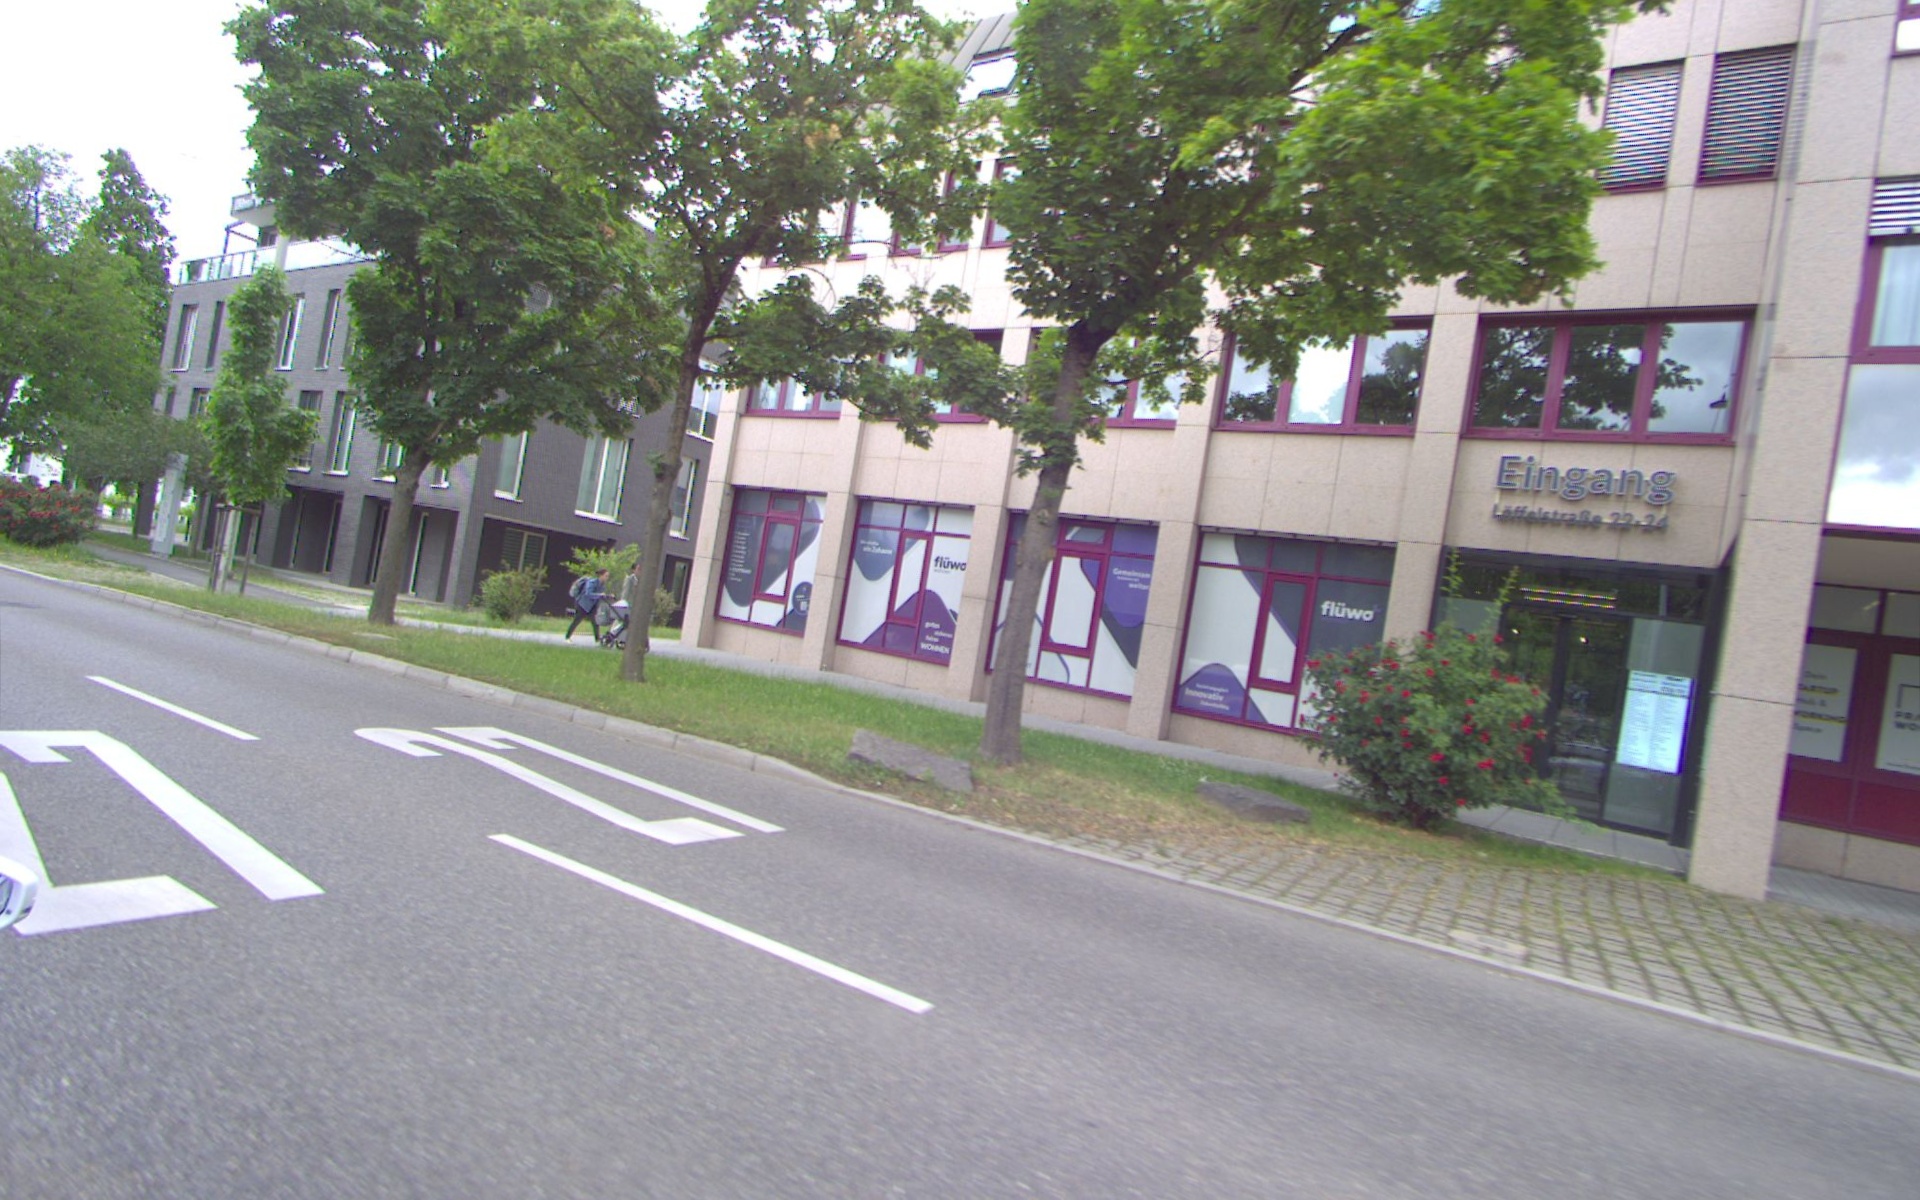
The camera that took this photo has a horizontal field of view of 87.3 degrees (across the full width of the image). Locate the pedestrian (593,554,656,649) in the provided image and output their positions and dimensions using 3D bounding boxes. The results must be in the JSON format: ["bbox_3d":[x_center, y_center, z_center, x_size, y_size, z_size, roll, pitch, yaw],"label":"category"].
[{"bbox_3d":[-6.522,0.033,19.567,0.816,1.719,0.568,7,-1,34],"label":"pedestrian"}]

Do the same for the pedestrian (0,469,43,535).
[{"bbox_3d":[-28.052,-2.918,29.995,0.937,1.796,0.610,10,0,30],"label":"pedestrian"}]

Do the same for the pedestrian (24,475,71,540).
[{"bbox_3d":[-27.747,-2.816,30.596,0.937,1.796,0.610,10,0,30],"label":"pedestrian"}]

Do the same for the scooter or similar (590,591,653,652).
[{"bbox_3d":[-6.210,0.396,18.469,0.831,1.006,0.585,7,0,26],"label":"scooter or similar"}]

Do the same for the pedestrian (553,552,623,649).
[{"bbox_3d":[-6.974,0.009,18.848,0.944,1.673,0.556,7,0,26],"label":"pedestrian"}]
